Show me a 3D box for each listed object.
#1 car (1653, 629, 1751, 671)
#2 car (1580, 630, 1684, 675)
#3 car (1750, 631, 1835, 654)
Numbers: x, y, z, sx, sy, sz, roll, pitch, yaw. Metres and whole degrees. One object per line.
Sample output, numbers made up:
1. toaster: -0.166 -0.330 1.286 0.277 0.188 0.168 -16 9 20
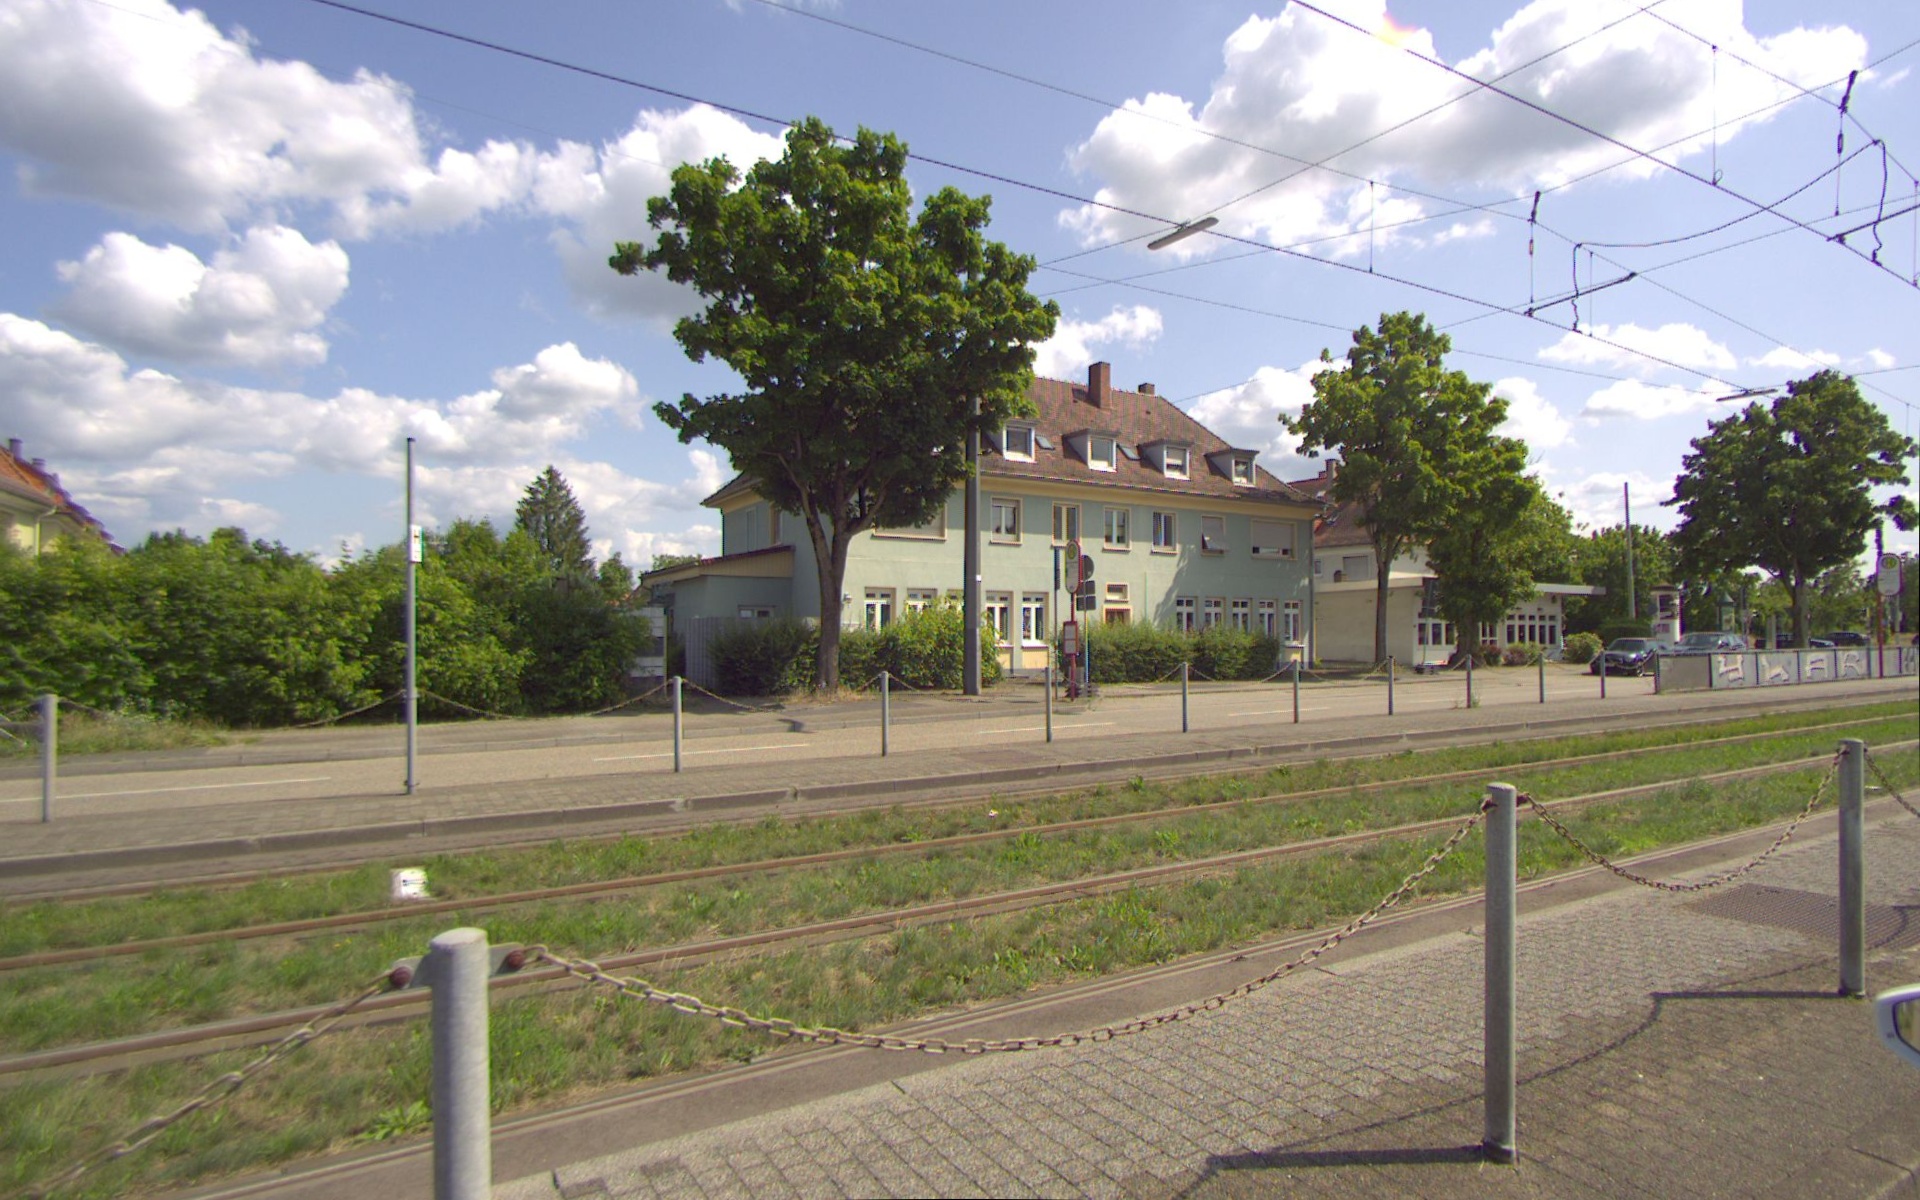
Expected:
1. car: 30.918 2.046 41.837 4.710 1.635 2.045 1 -2 -37
2. car: 25.747 1.977 38.472 3.884 1.605 1.778 1 -2 -30
3. car: 61.400 3.109 74.146 1.975 1.534 4.442 1 -1 -28
